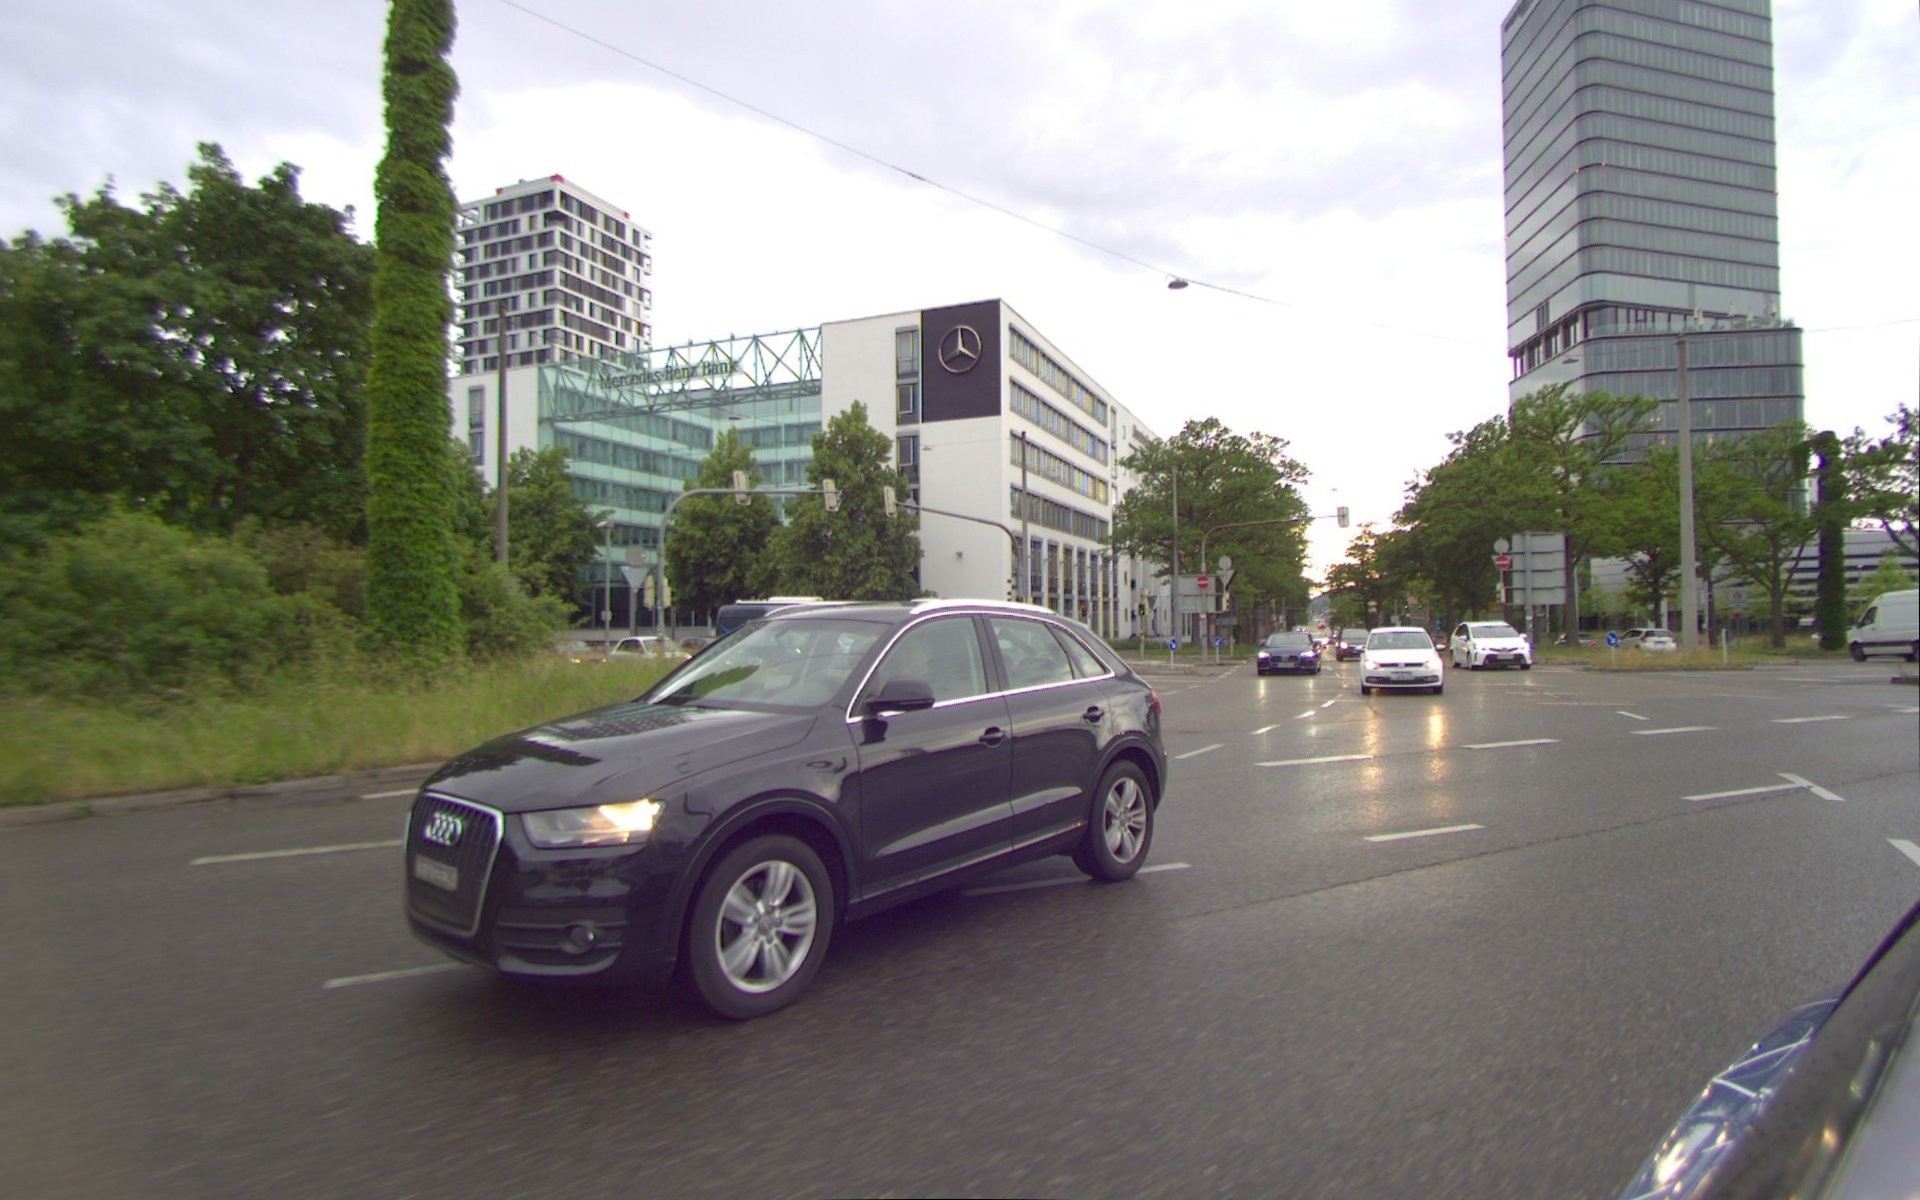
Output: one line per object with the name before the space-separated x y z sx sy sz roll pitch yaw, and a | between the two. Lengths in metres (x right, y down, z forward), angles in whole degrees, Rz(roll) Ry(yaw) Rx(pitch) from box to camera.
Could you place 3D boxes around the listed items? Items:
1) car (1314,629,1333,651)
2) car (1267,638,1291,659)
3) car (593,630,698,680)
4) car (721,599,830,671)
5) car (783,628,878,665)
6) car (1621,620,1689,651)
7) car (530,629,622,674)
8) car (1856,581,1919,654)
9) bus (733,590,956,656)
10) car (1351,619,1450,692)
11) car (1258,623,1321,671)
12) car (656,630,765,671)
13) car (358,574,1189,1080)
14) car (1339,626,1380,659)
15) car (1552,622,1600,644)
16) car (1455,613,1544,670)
car | 34.724 3.815 96.703 1.593 2.039 3.606 -1 -1 21
car | 25.560 3.876 81.000 1.593 1.533 3.606 -1 -1 21
car | -10.982 1.879 35.241 1.816 1.586 4.155 1 -2 -44
car | -7.359 1.382 40.059 1.898 2.700 4.791 1 -2 -44
car | -5.458 1.923 42.321 4.102 1.433 1.705 -2 -2 42
car | 35.880 1.822 52.366 1.658 1.504 3.772 -2 -2 15
car | -14.695 1.943 38.644 1.816 1.586 4.155 1 -2 -44
car | 35.574 0.625 36.829 1.902 2.618 5.437 -2 -2 13
bus | -6.115 1.239 52.929 11.674 3.242 1.990 -1 -1 15
car | 9.961 1.211 23.140 1.709 1.491 4.235 -2 -2 20
car | 10.802 1.481 33.008 1.739 1.416 3.971 -1 -1 21
car | -9.307 1.857 37.584 1.898 1.414 4.542 0 -2 -44
car | -0.568 0.710 5.234 1.723 1.553 4.065 -1 -1 41
car | 18.610 1.951 47.223 1.550 1.433 3.855 -2 -2 19
car | 43.316 2.289 71.266 1.758 1.504 4.036 -2 -2 15
car | 17.821 1.321 33.620 1.804 1.603 4.272 -3 0 18
